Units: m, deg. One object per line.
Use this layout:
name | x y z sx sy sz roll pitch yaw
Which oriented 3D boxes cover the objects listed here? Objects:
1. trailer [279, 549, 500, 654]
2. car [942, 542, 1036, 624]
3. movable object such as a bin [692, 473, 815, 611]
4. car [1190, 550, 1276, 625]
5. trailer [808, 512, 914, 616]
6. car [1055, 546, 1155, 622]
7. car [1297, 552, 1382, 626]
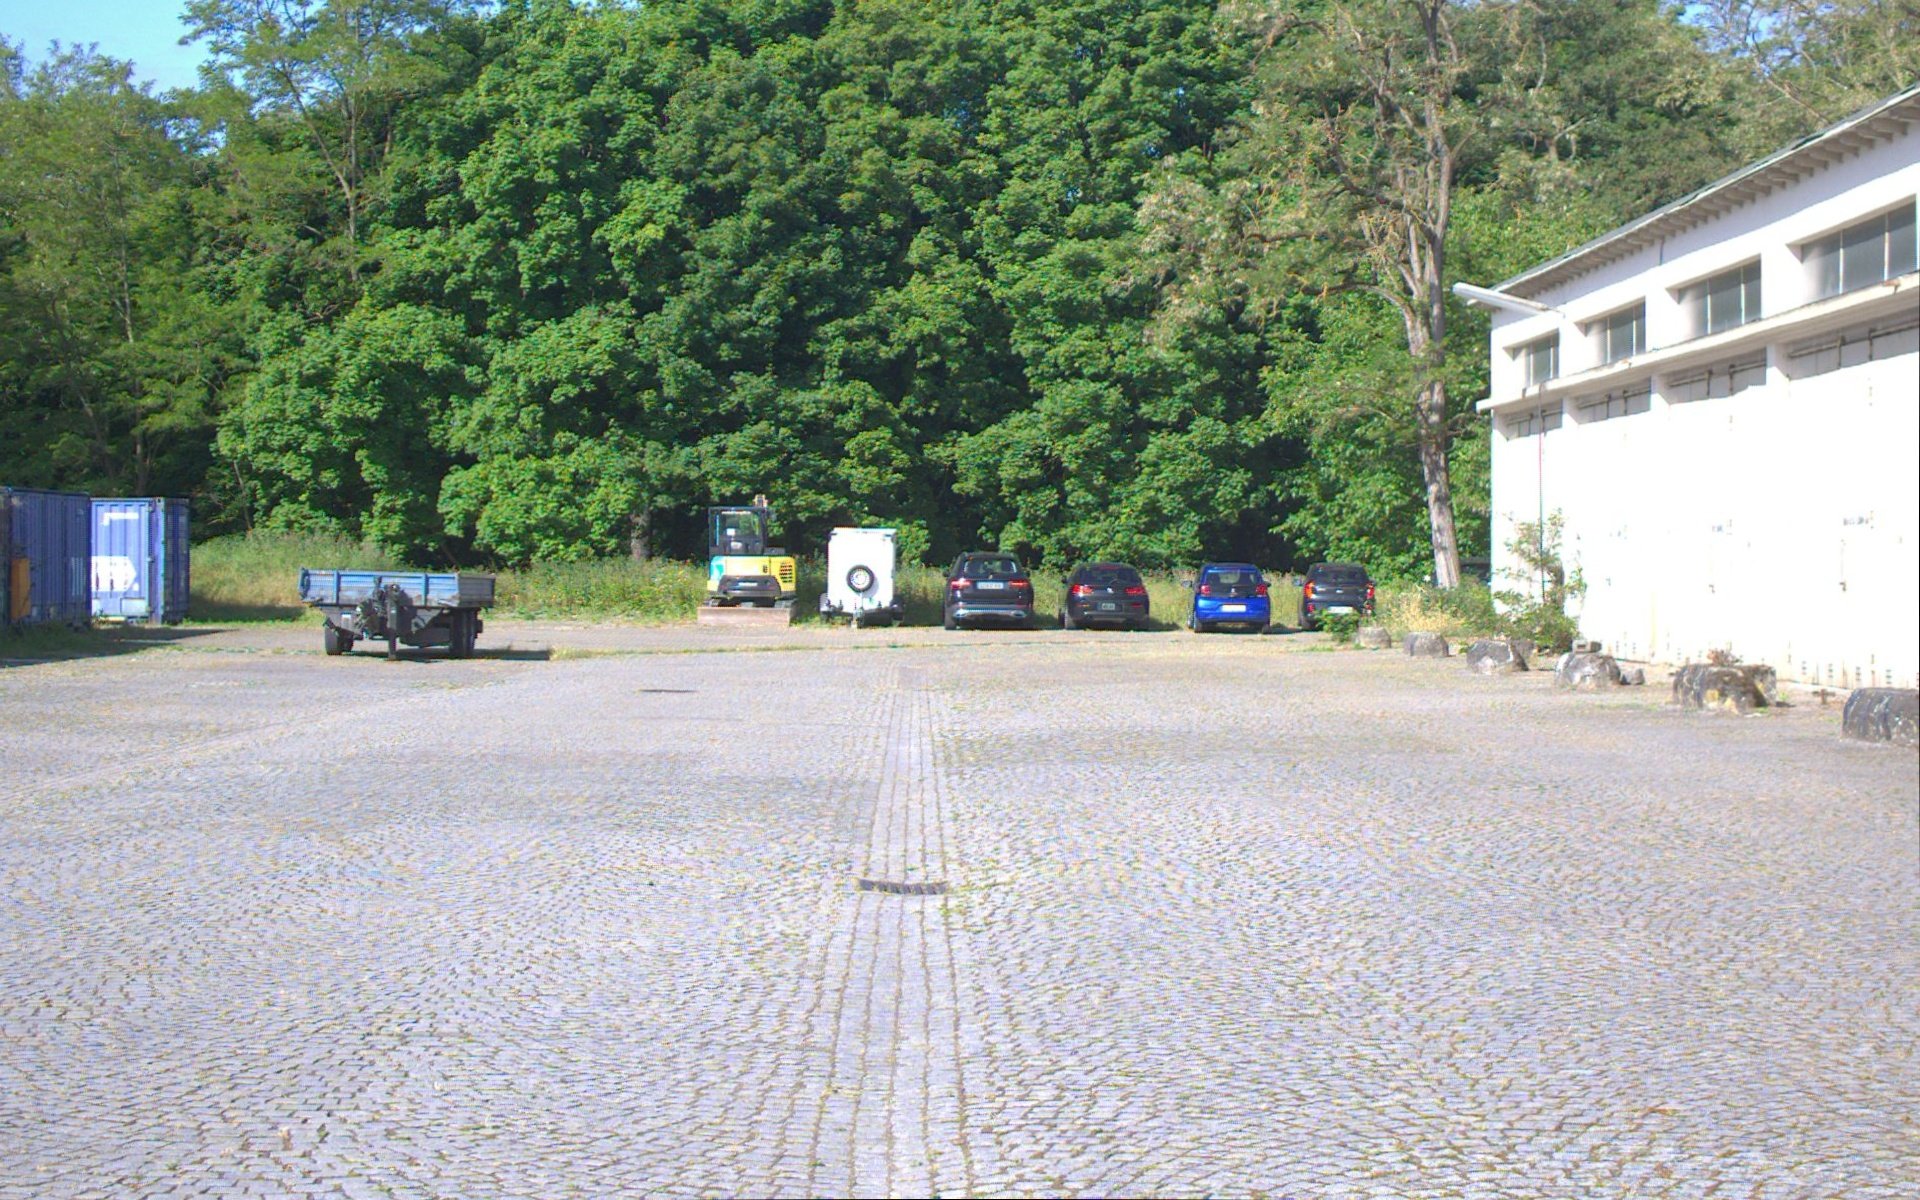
trailer | -9.107 -0.030 55.488 2.705 1.460 6.248 2 1 -2
car | 0.589 -0.392 73.249 1.863 1.584 4.296 2 2 -1
movable object such as a bin | -4.525 -1.334 76.181 2.306 2.887 5.751 2 2 0
car | 5.844 -0.290 73.583 1.744 1.431 4.182 2 2 4
trailer | -2.143 -0.838 75.608 2.193 2.087 5.752 2 2 -1
car | 3.076 -0.369 73.629 1.863 1.465 4.296 2 2 -1
car | 8.278 -0.260 75.006 1.744 1.431 4.182 2 2 6
